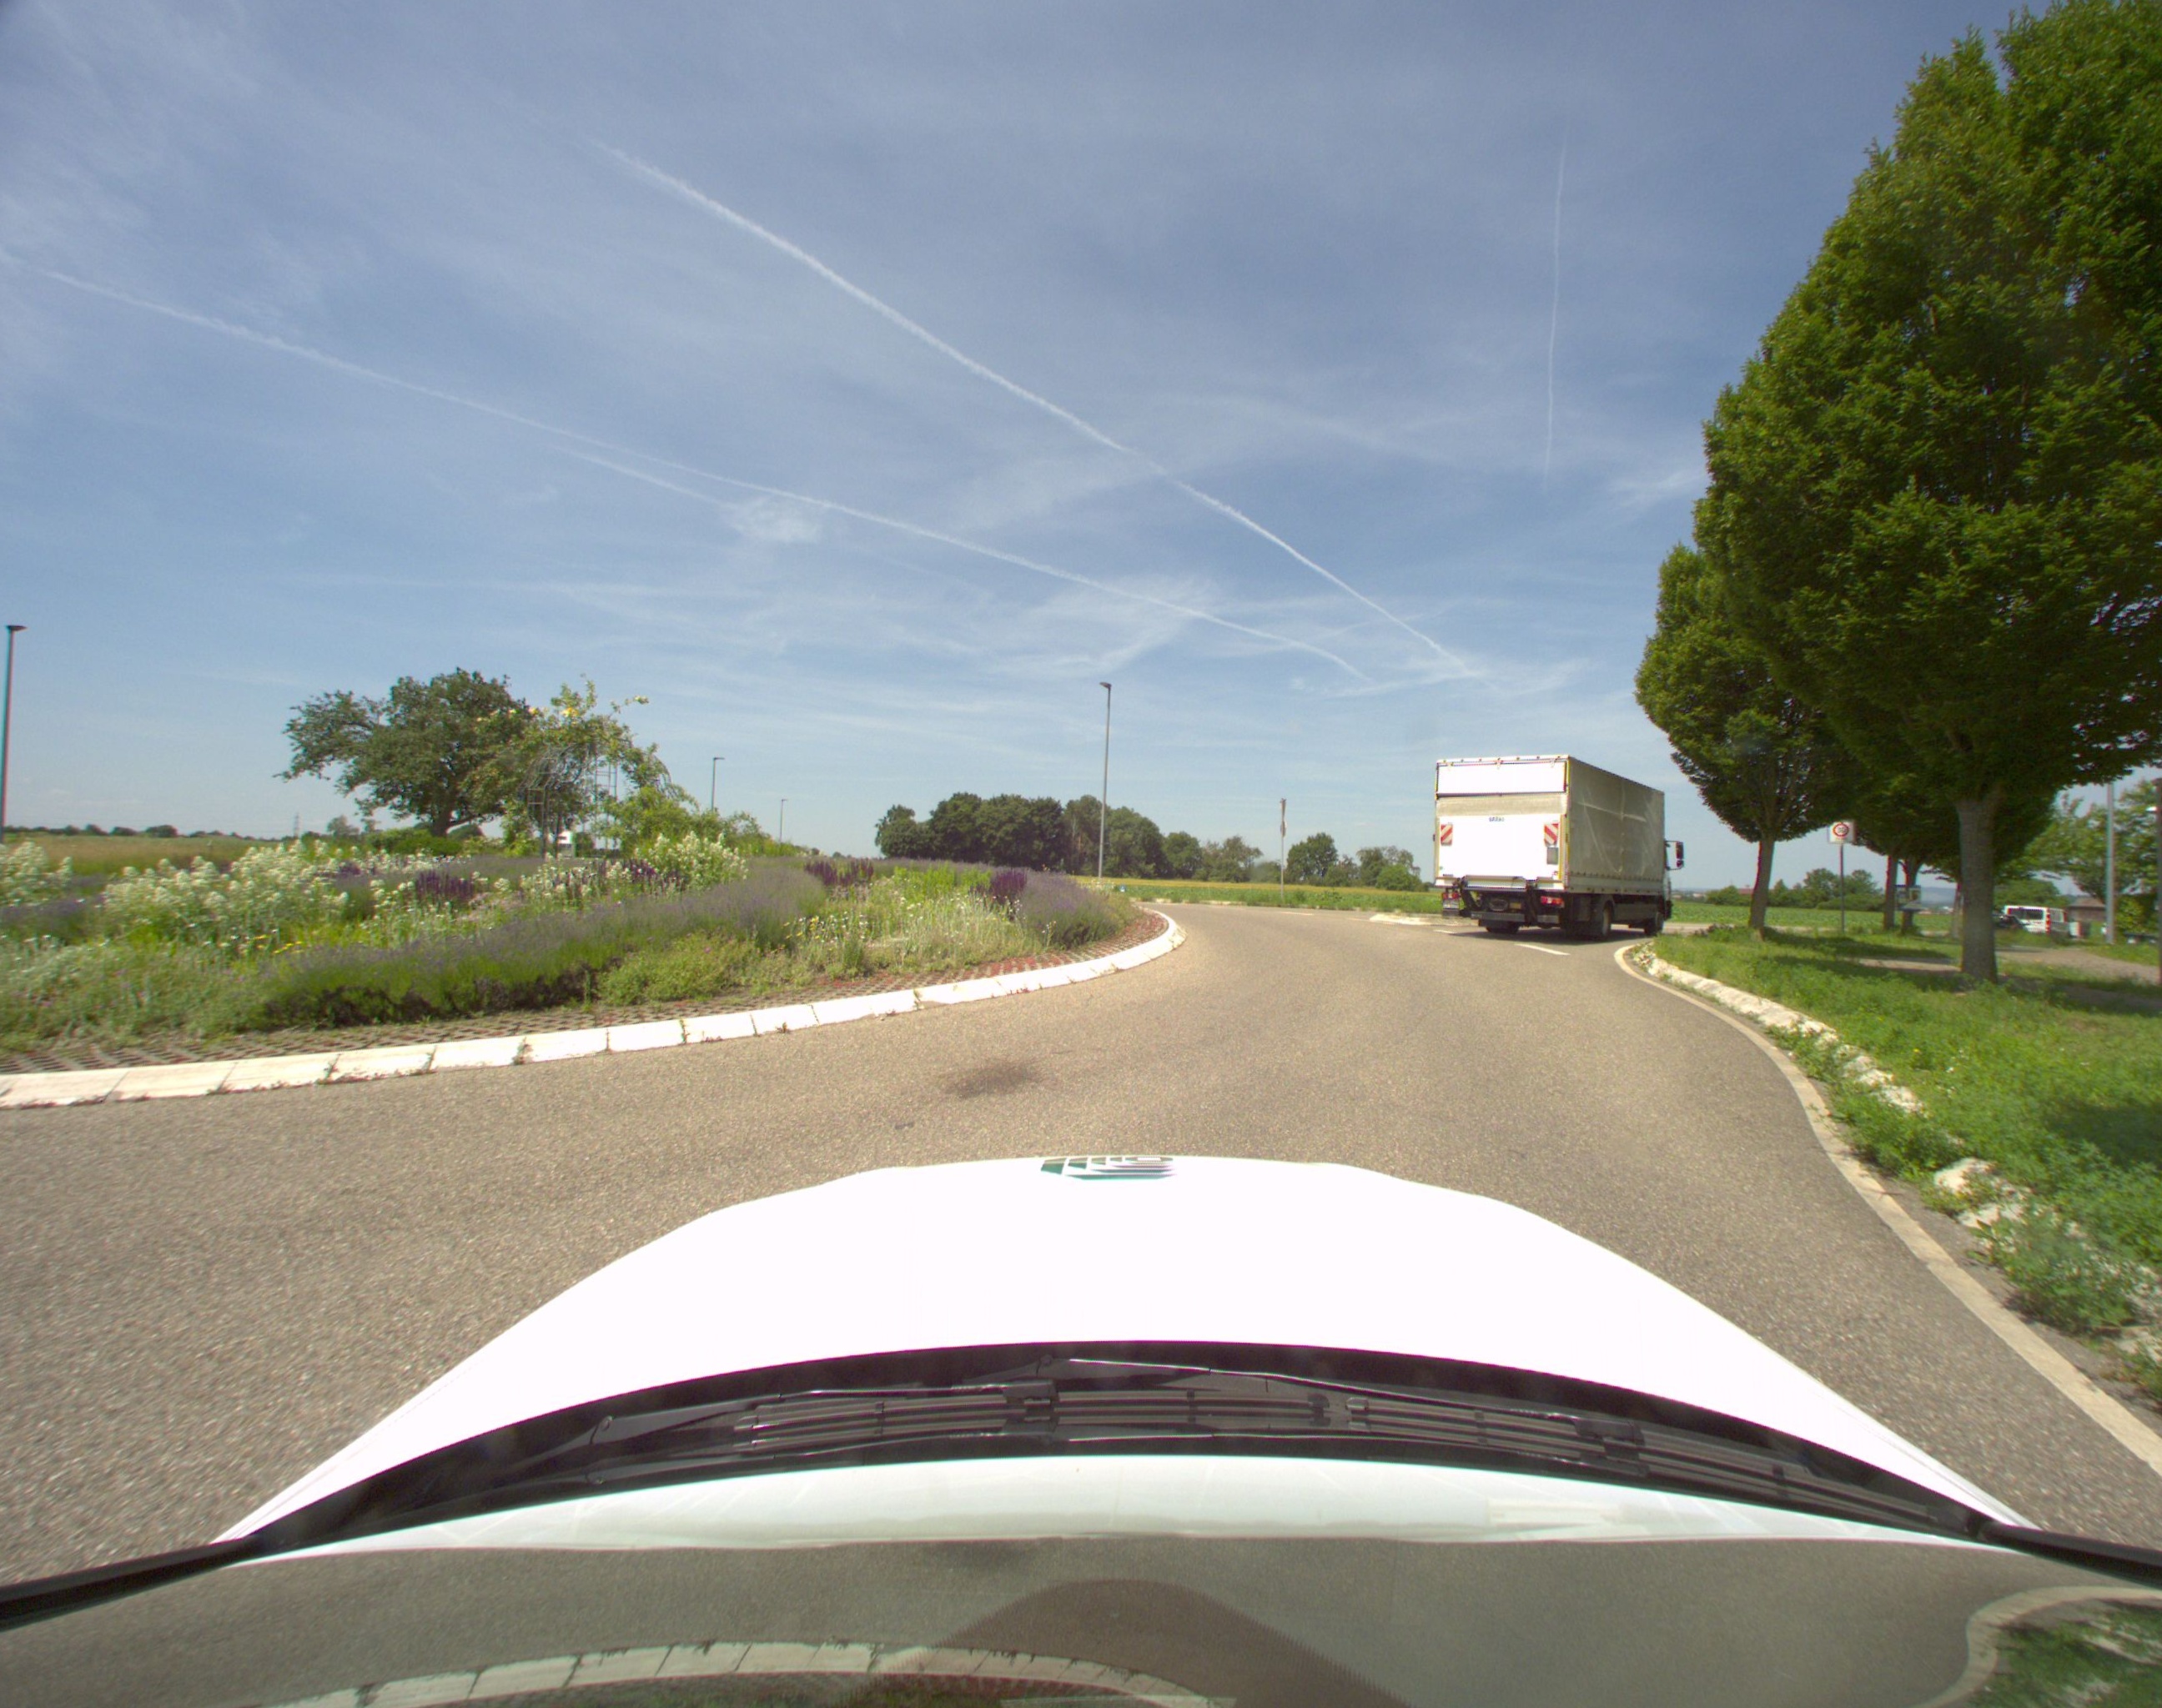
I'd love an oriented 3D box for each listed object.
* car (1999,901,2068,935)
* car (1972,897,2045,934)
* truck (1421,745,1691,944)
[{"bbox_3d":[53.908,3.612,46.084,4.013,1.717,1.980,4,-2,-32],"label":"car"},{"bbox_3d":[48.857,3.190,42.898,4.014,1.794,1.980,2,-1,-33],"label":"car"},{"bbox_3d":[11.548,-0.055,19.161,9.432,3.671,2.743,3,0,-43],"label":"truck"}]
